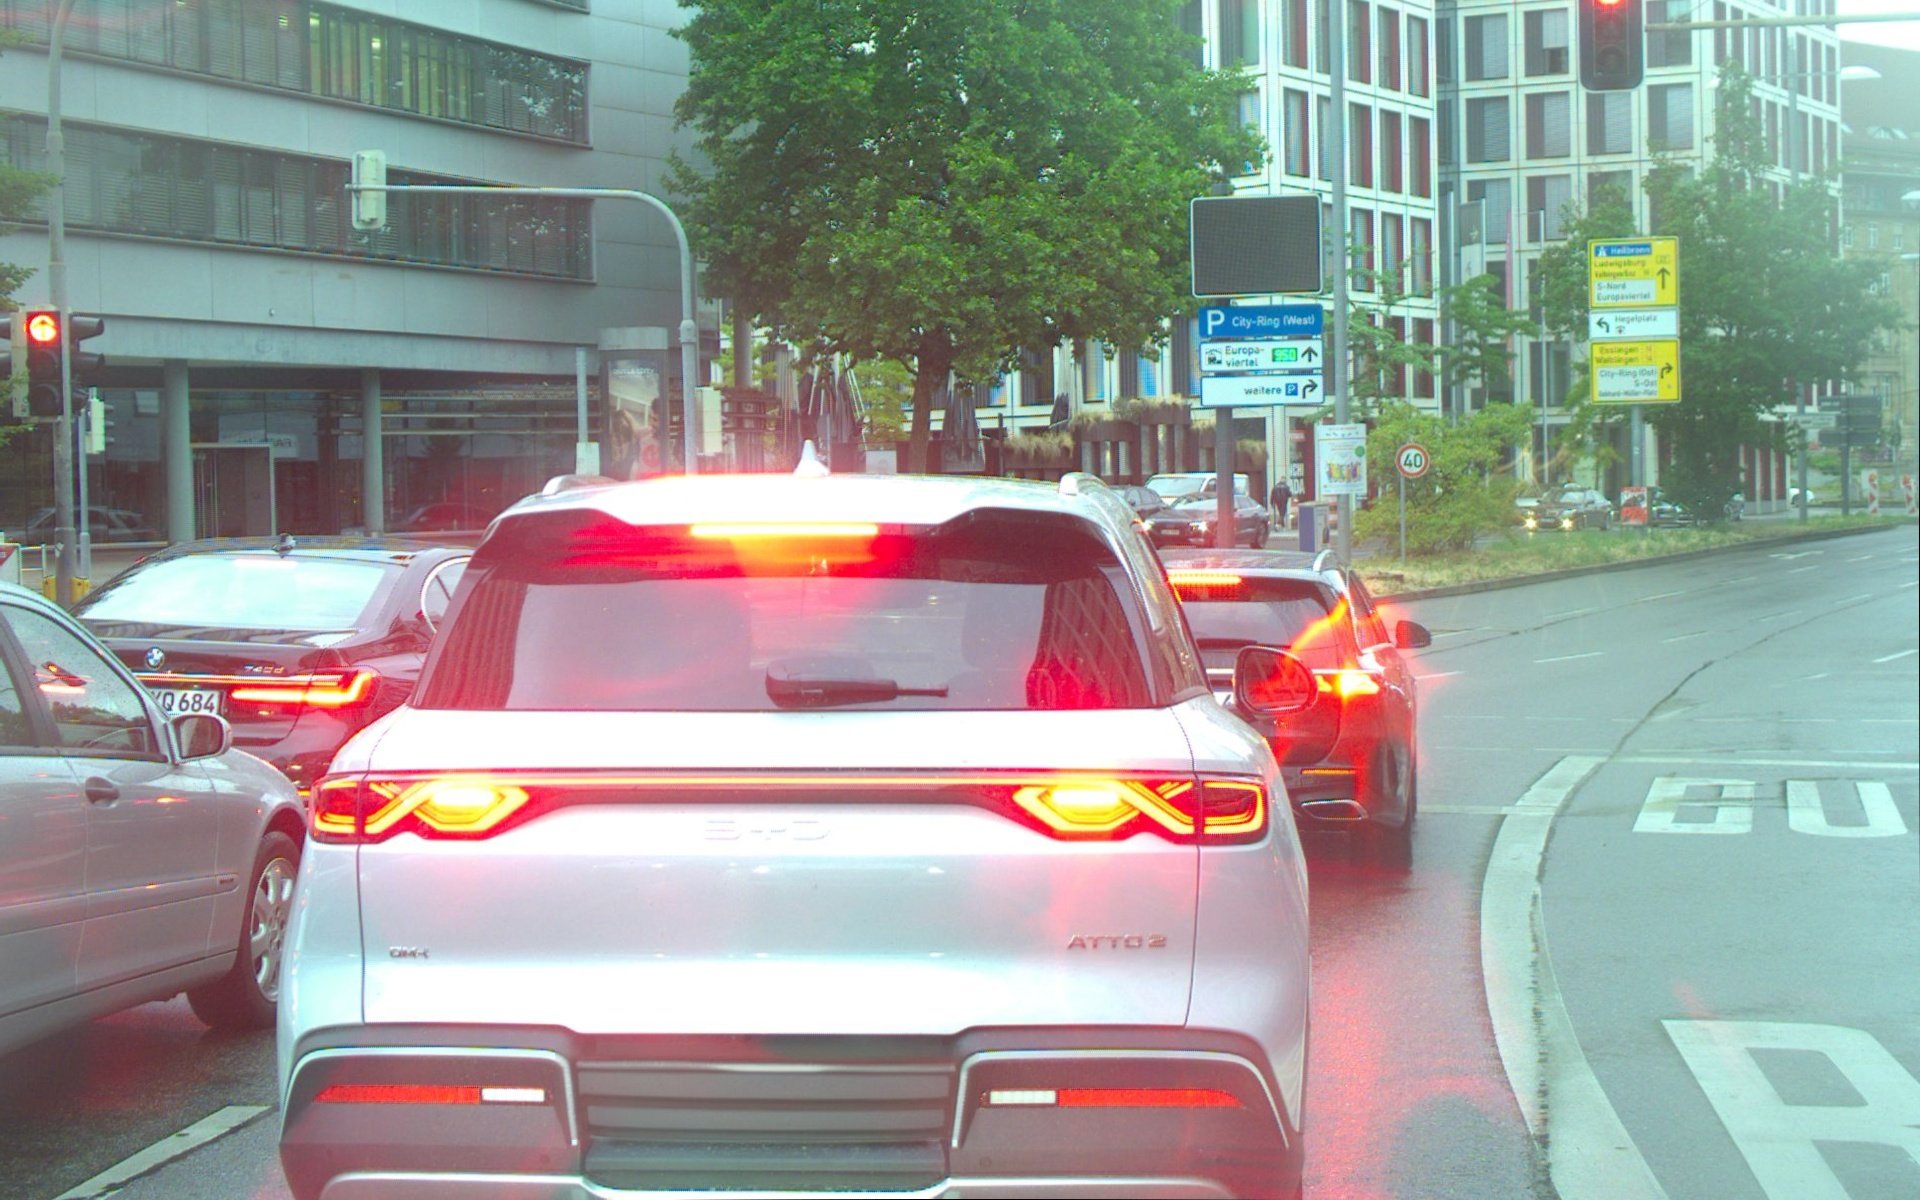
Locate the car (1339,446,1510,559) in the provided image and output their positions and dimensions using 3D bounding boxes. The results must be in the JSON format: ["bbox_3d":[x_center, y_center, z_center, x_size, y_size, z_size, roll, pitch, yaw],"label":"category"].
[{"bbox_3d":[8.828,-1.808,64.983,1.996,2.007,4.843,1,1,23],"label":"car"}]

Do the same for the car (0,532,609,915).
[{"bbox_3d":[-2.792,0.464,15.507,1.571,1.481,3.999,1,1,6],"label":"car"}]

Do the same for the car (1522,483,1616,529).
[{"bbox_3d":[20.395,-3.144,115.071,1.996,1.483,3.994,0,2,27],"label":"car"}]

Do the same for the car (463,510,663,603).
[{"bbox_3d":[-7.089,-0.809,61.748,1.995,1.605,3.996,1,1,20],"label":"car"}]

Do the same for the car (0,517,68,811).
[{"bbox_3d":[-5.871,0.321,16.283,1.707,1.481,3.998,1,1,9],"label":"car"}]

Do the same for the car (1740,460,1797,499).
[{"bbox_3d":[38.470,-5.732,163.462,1.609,1.735,3.439,1,1,32],"label":"car"}]

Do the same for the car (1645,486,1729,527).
[{"bbox_3d":[26.569,-3.424,125.530,1.996,1.483,3.994,0,2,27],"label":"car"}]

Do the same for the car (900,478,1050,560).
[{"bbox_3d":[0.341,-1.625,69.092,1.645,1.575,4.081,1,1,21],"label":"car"}]

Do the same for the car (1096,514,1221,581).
[{"bbox_3d":[4.961,-1.328,85.508,1.633,1.553,4.588,0,2,23],"label":"car"}]

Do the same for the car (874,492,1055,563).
[{"bbox_3d":[0.148,-1.636,76.893,1.816,1.505,5.188,1,2,28],"label":"car"}]

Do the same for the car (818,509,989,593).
[{"bbox_3d":[-0.933,-0.825,58.740,1.692,1.380,3.865,1,1,19],"label":"car"}]

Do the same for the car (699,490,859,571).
[{"bbox_3d":[-3.607,-1.381,69.001,1.640,1.565,3.713,1,1,25],"label":"car"}]

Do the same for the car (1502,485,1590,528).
[{"bbox_3d":[20.963,-3.365,122.948,1.996,1.483,3.994,0,2,27],"label":"car"}]

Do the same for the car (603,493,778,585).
[{"bbox_3d":[-4.619,-1.067,59.488,1.645,1.530,4.149,1,1,16],"label":"car"}]

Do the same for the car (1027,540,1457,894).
[{"bbox_3d":[1.479,0.476,16.645,1.694,1.481,3.998,1,1,10],"label":"car"}]

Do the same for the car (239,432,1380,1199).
[{"bbox_3d":[-0.190,0.564,7.383,1.776,1.673,4.000,1,1,2],"label":"car"}]

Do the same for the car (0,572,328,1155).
[{"bbox_3d":[-3.042,0.633,8.908,1.571,1.402,4.108,1,1,7],"label":"car"}]
